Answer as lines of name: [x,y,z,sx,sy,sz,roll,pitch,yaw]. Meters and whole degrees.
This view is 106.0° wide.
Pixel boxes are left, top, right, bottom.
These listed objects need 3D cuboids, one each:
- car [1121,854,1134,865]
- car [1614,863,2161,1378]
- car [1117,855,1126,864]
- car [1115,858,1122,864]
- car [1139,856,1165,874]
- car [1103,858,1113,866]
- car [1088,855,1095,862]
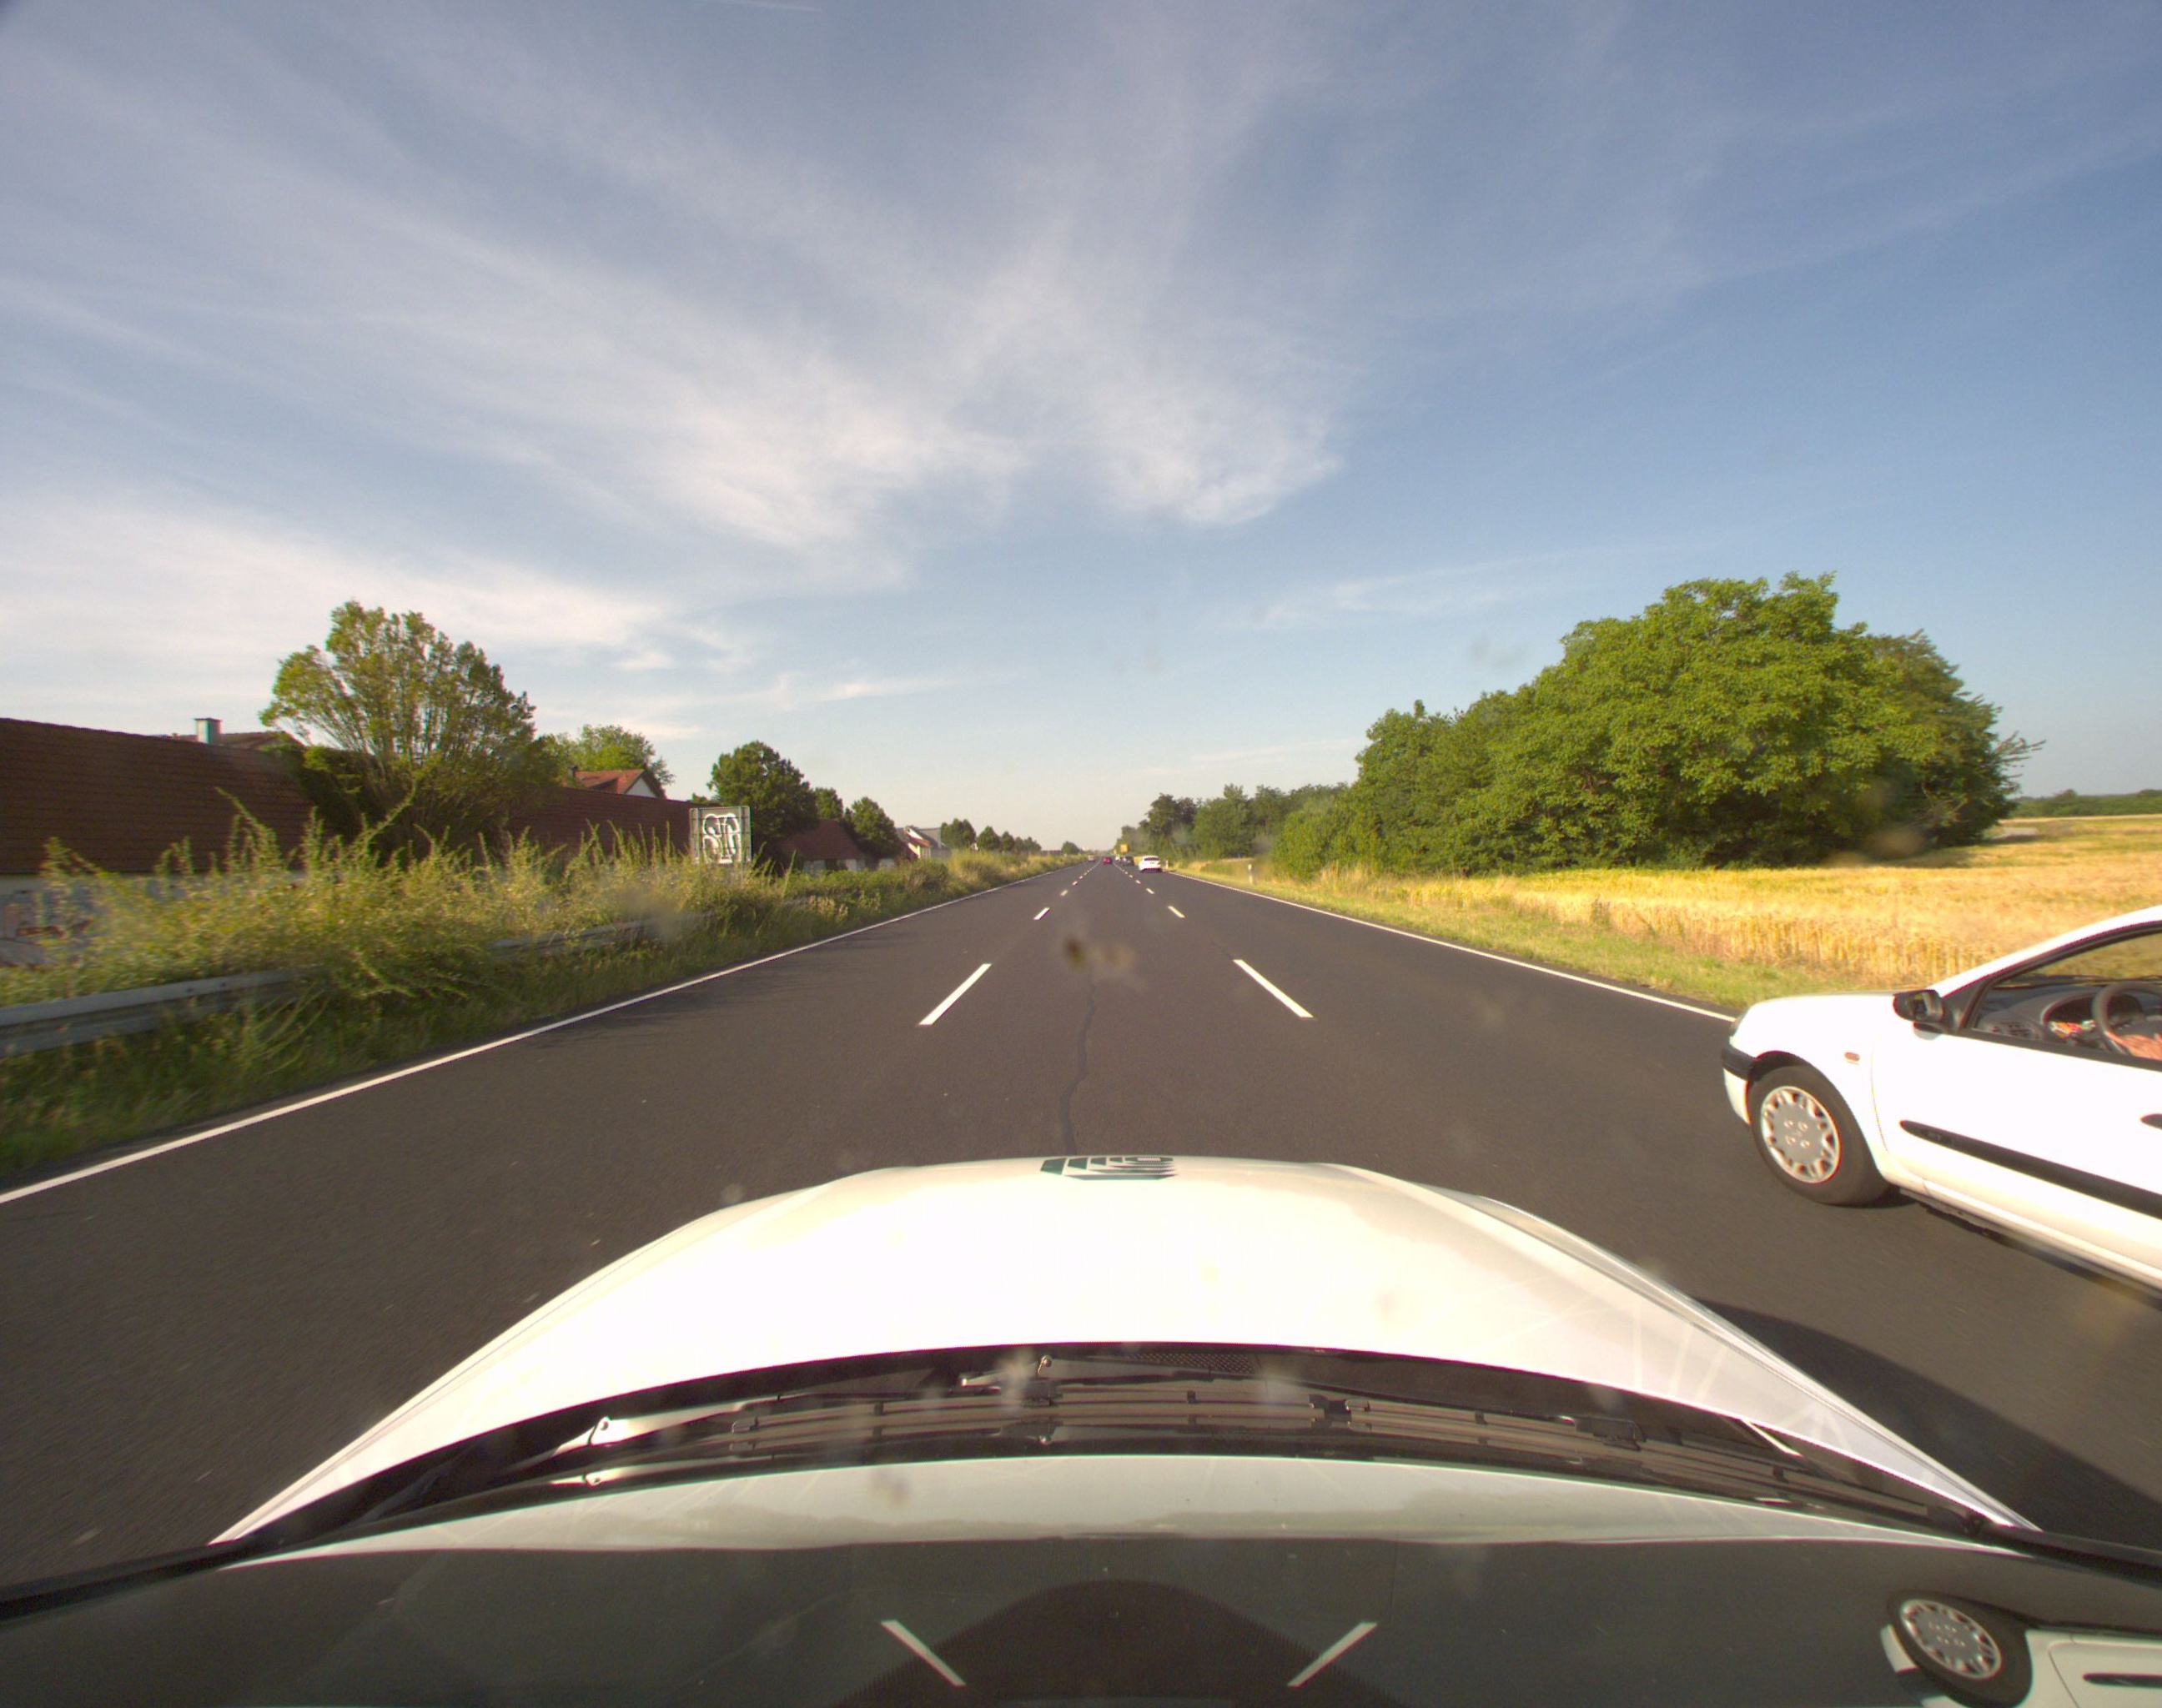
car: [7.297,0.869,127.835,1.821,1.728,4.001,-1,-1,1]
car: [3.741,0.725,2.547,1.611,1.387,3.952,0,-1,1]
car: [8.424,1.183,169.207,1.827,1.717,3.864,-1,-1,2]
car: [10.969,1.956,236.934,1.840,1.750,4.002,-1,-1,2]
car: [6.062,0.932,70.246,1.986,1.516,4.001,-1,-1,1]
car: [5.219,1.590,156.887,1.806,1.436,3.858,-1,-1,1]
car: [2.816,1.235,215.108,1.751,1.618,4.003,-1,-1,3]
